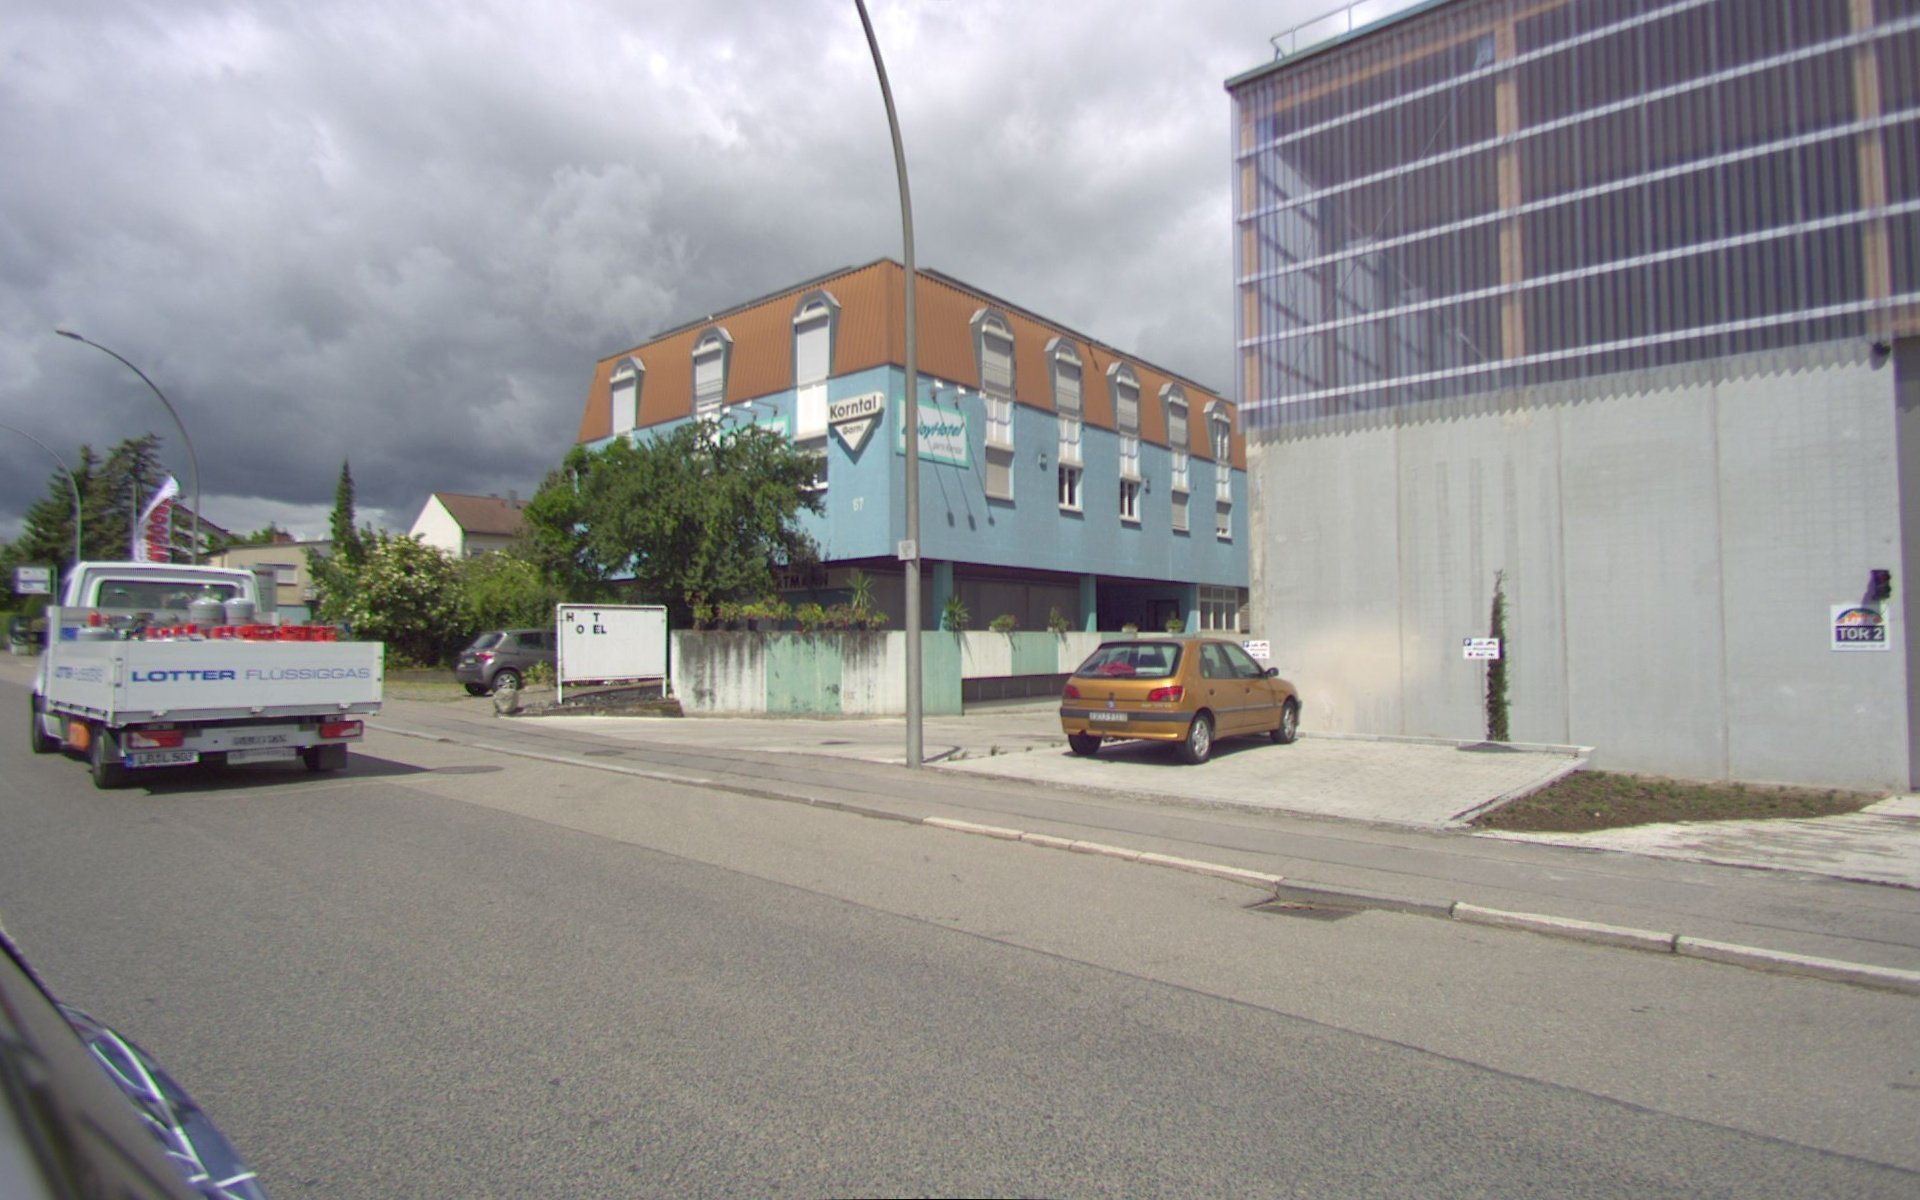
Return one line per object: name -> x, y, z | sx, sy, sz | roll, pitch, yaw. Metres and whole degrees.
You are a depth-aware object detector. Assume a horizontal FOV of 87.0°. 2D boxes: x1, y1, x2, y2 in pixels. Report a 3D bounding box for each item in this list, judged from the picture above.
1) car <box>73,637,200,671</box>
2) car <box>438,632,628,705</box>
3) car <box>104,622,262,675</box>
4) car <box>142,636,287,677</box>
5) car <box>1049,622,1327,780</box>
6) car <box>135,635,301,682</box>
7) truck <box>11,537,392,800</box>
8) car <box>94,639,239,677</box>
car -> -35.510, 2.293, 43.720 | 1.869, 1.213, 3.948 | -2, -1, 39
car -> -9.839, 1.520, 23.473 | 1.979, 1.544, 3.588 | -2, -3, 43
car -> -31.015, 1.904, 40.519 | 2.112, 1.987, 4.608 | -2, -3, 37
car -> -26.956, 2.013, 36.689 | 1.871, 1.366, 3.943 | -3, -3, 43
car -> 2.983, 1.100, 12.591 | 1.823, 1.503, 4.111 | -2, -1, 37
car -> -25.566, 1.965, 34.989 | 1.870, 1.489, 4.329 | 0, -2, 41
truck -> -8.874, 0.710, 11.514 | 6.448, 2.195, 2.293 | -2, -4, 43
car -> -29.598, 2.120, 37.842 | 1.870, 1.325, 3.947 | -1, -2, 39
